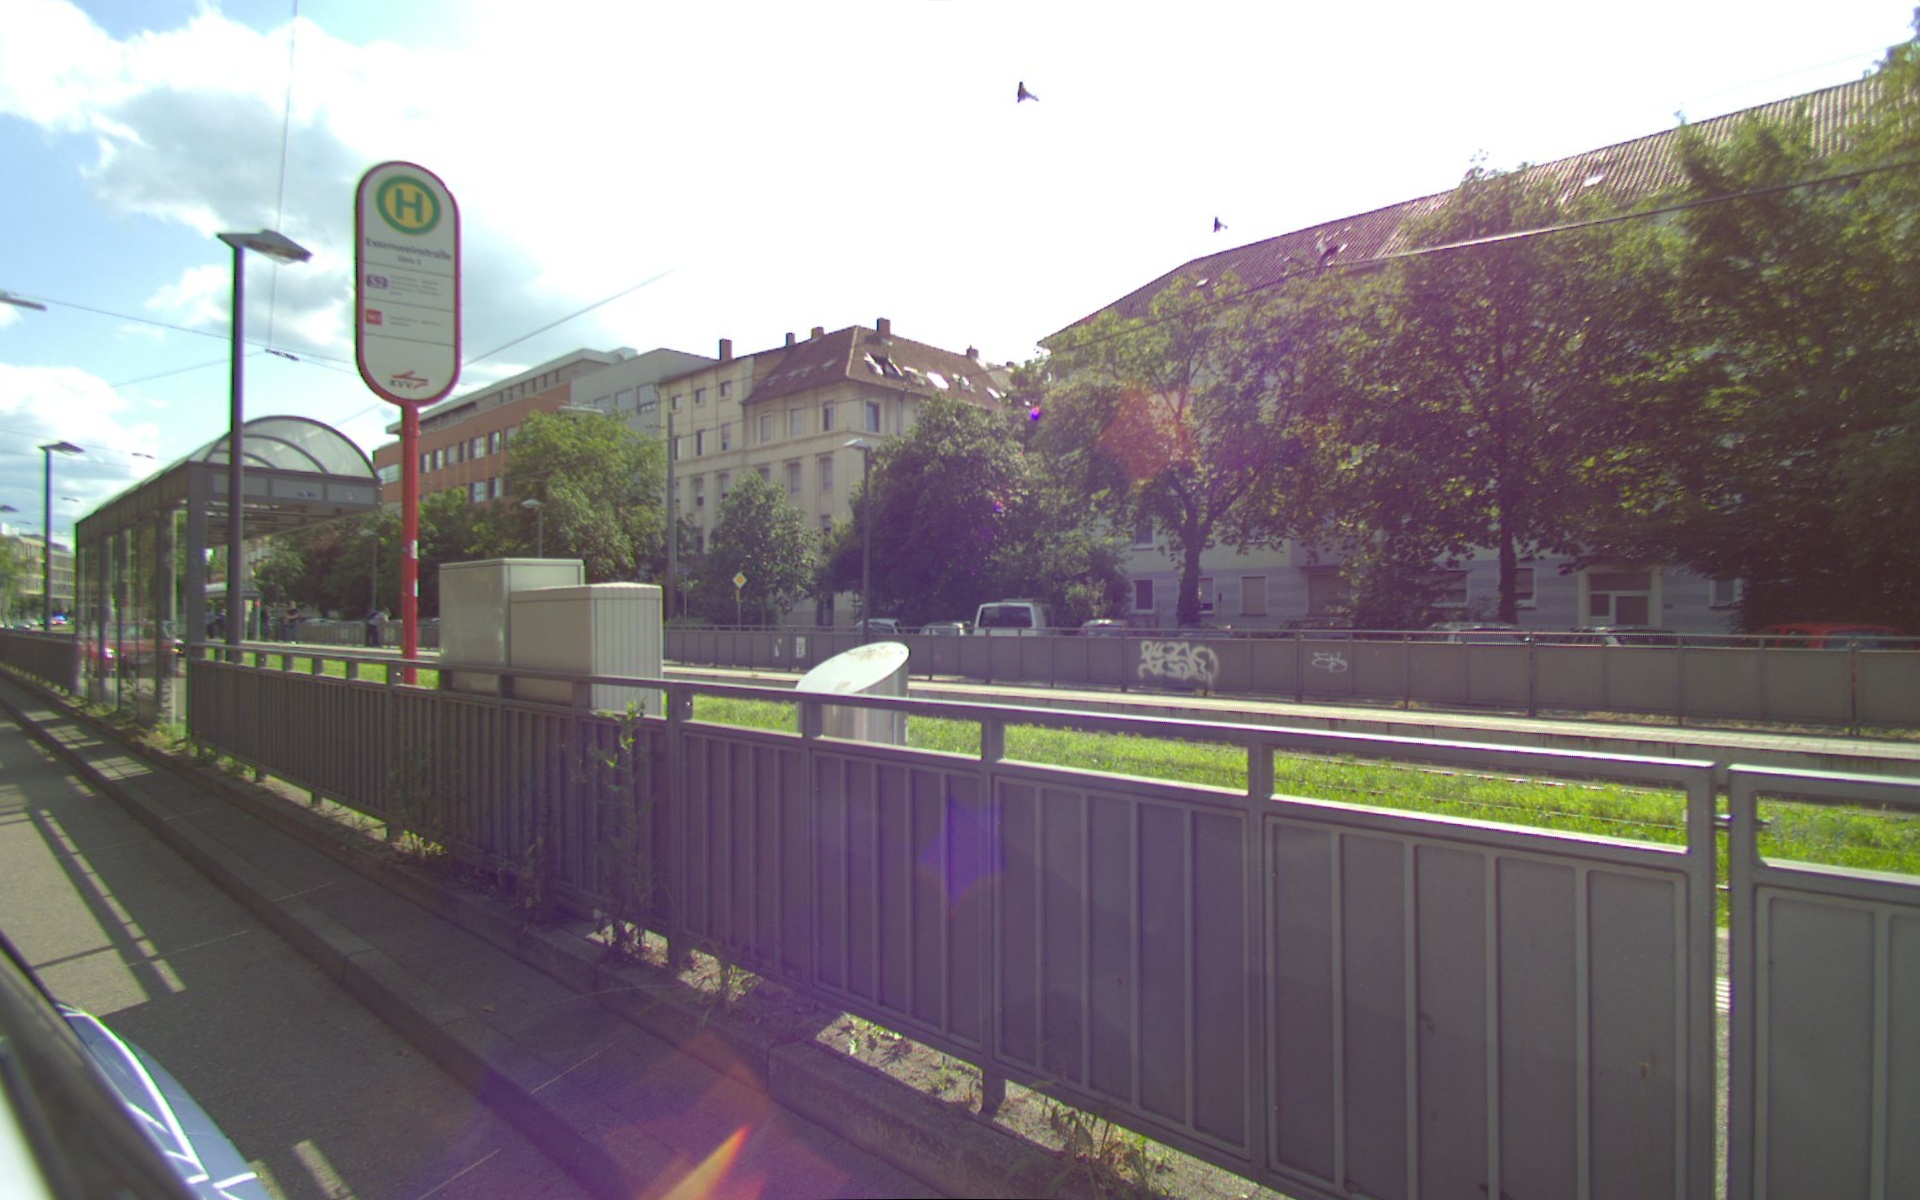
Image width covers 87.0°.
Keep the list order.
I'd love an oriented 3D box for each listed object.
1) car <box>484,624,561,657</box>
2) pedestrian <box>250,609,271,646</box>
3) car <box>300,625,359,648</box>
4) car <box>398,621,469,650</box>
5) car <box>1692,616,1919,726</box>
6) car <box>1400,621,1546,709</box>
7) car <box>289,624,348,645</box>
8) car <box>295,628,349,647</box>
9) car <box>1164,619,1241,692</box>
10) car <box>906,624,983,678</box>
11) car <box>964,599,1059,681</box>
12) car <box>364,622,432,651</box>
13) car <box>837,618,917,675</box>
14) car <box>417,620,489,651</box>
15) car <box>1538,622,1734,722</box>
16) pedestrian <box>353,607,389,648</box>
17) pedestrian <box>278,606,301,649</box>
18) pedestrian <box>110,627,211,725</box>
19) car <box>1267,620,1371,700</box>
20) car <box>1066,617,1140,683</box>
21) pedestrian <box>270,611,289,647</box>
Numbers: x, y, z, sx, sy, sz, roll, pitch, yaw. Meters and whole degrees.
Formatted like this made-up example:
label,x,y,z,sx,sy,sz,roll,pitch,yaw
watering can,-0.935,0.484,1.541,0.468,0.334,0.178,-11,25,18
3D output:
label,x,y,z,sx,sy,sz,roll,pitch,yaw
car,-21.538,1.965,49.987,1.901,1.576,4.150,0,-1,2
pedestrian,-33.347,1.297,48.229,0.599,1.767,0.626,0,-1,-7
car,-43.809,2.504,70.369,1.569,1.431,3.299,-1,1,13
car,-30.529,2.025,58.777,1.591,1.580,3.988,-1,-1,9
car,13.829,1.070,16.552,1.632,1.591,3.652,-1,-1,12
car,9.855,1.177,19.743,1.593,1.525,4.011,0,-1,13
car,-47.965,2.587,75.708,1.631,1.508,3.993,-1,-1,6
car,-45.809,2.703,72.730,1.585,1.314,3.244,-1,-1,8
car,5.689,1.252,23.968,1.632,1.591,3.652,-1,-1,12
car,-0.392,1.461,30.195,1.591,1.497,3.988,-1,-1,9
car,1.503,1.066,27.815,2.029,2.086,3.937,-1,-1,12
car,-34.715,2.229,62.658,1.652,1.540,3.992,-2,0,6
car,-2.540,1.413,31.846,1.805,1.652,3.992,-2,-1,6
car,-28.398,1.983,56.818,1.811,1.652,4.132,0,-1,3
car,11.912,1.199,18.130,1.632,1.591,3.652,-1,-1,12
pedestrian,-22.854,1.068,39.287,0.798,1.590,0.978,-1,-1,40
pedestrian,-29.817,1.210,45.006,0.742,1.906,0.639,1,1,-45
pedestrian,-9.193,0.856,11.664,0.652,1.080,0.725,0,-2,-13
car,7.743,1.234,22.111,1.632,1.591,3.652,-1,-1,12
car,3.807,1.266,26.523,1.701,1.591,3.937,-1,-1,11
pedestrian,-32.728,1.390,48.685,0.625,1.687,0.600,-1,-1,43
